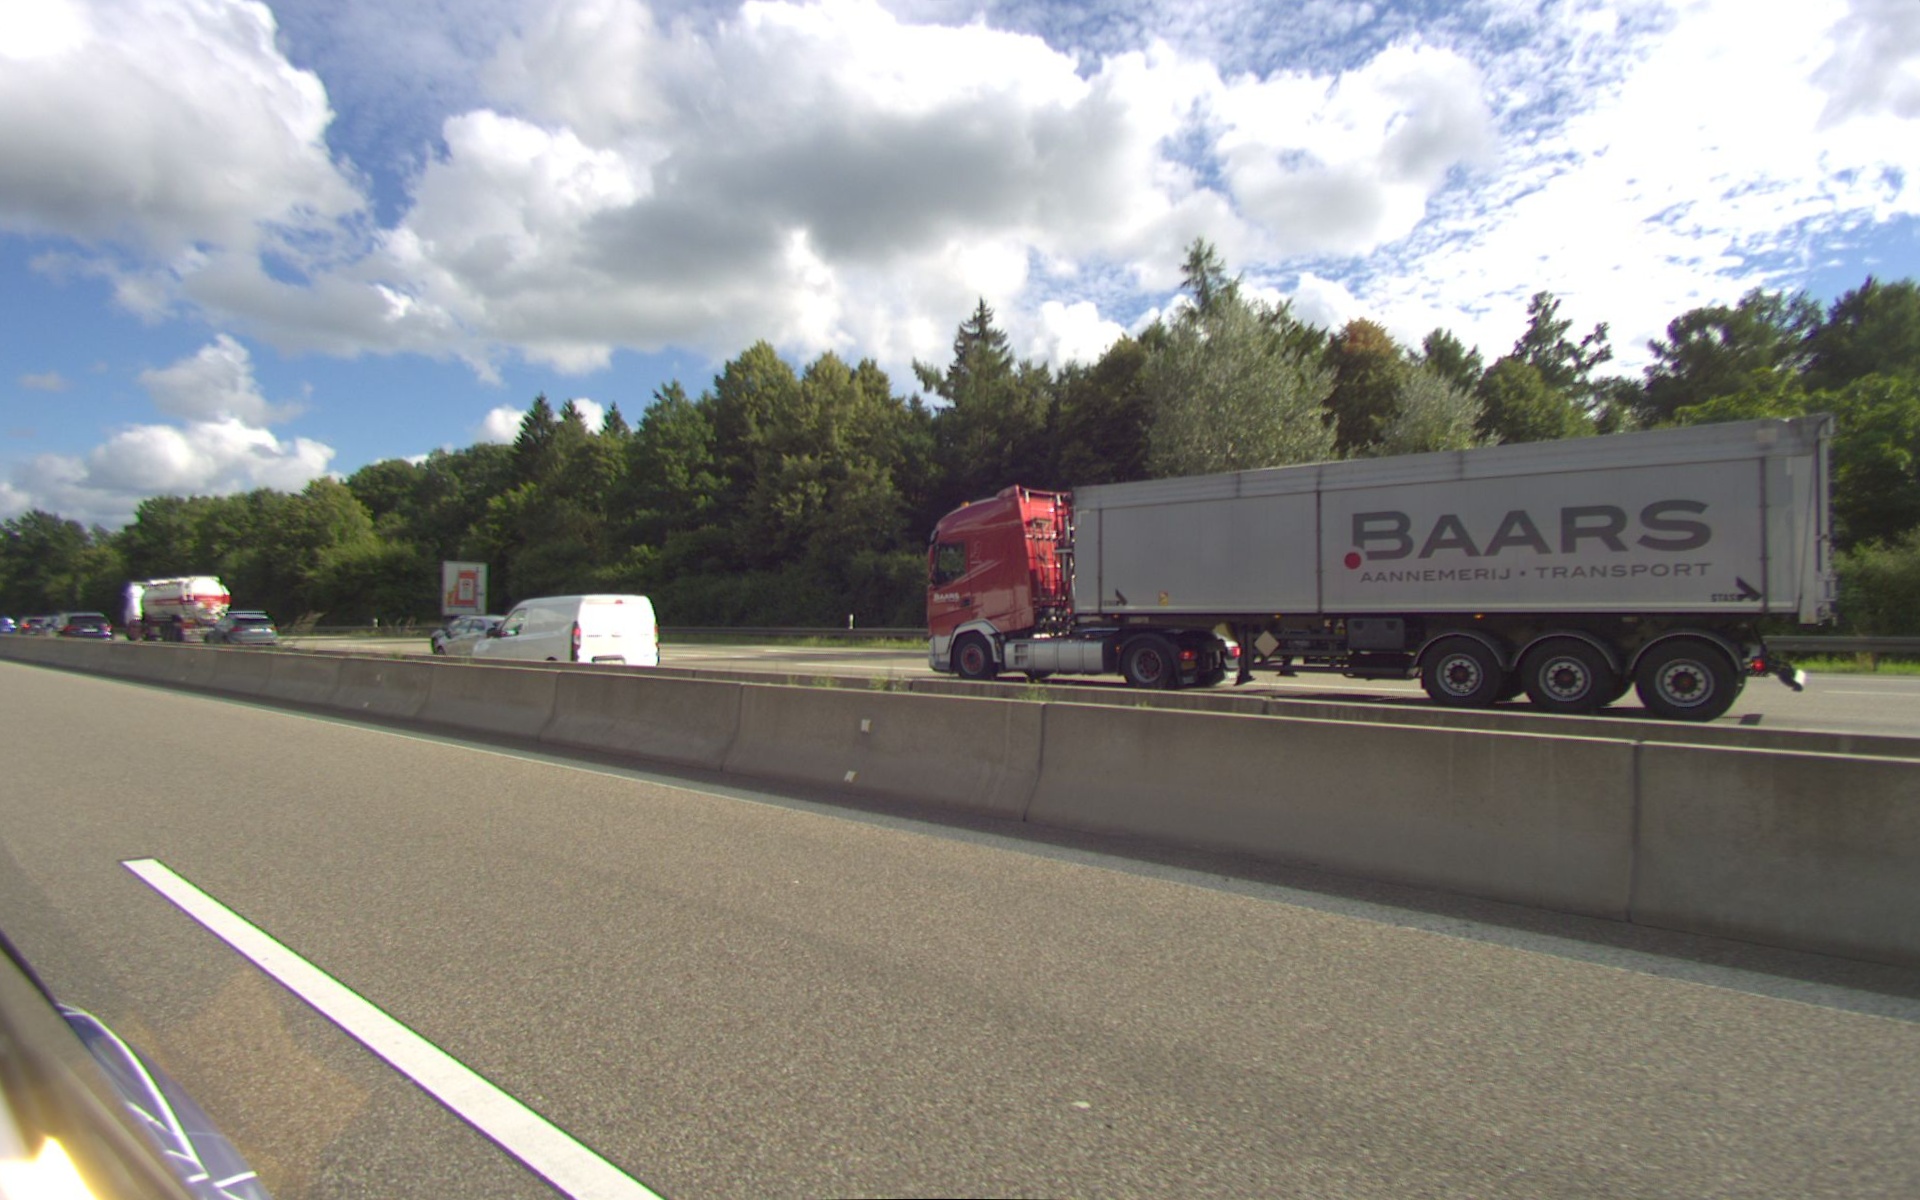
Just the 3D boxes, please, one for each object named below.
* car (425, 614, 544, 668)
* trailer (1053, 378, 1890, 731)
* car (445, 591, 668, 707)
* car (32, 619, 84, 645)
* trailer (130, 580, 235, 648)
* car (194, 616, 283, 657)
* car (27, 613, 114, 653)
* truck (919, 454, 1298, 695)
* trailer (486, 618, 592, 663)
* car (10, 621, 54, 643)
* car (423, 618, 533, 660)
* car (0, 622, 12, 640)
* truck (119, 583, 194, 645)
[{"bbox_3d":[-13.458,1.113,28.549,3.998,1.413,1.586,-1,-1,41],"label":"car"},{"bbox_3d":[6.904,-0.403,15.981,11.276,3.887,2.936,-1,-1,41],"label":"trailer"},{"bbox_3d":[-7.535,0.869,18.704,4.610,1.892,1.830,-1,-2,39],"label":"car"},{"bbox_3d":[-60.531,2.151,67.908,5.206,1.683,1.836,-1,-1,40],"label":"car"},{"bbox_3d":[-49.224,0.921,63.897,12.244,3.975,2.759,-1,-1,40],"label":"trailer"},{"bbox_3d":[-31.254,1.556,43.800,4.682,1.676,1.974,-1,-1,39],"label":"car"},{"bbox_3d":[-40.527,1.495,46.079,5.345,1.713,2.133,-1,-1,39],"label":"car"},{"bbox_3d":[2.674,-0.352,19.673,6.761,3.887,2.936,-1,-1,41],"label":"truck"},{"bbox_3d":[-14.331,1.345,34.358,4.175,1.413,1.519,-1,-1,39],"label":"trailer"},{"bbox_3d":[-71.171,2.439,77.594,4.743,1.632,1.841,-1,-1,39],"label":"car"},{"bbox_3d":[-17.748,1.404,37.161,4.669,1.425,1.809,-1,-1,39],"label":"car"},{"bbox_3d":[-81.603,2.633,85.430,3.993,1.523,1.614,-1,-2,37],"label":"car"},{"bbox_3d":[-53.867,0.976,67.806,6.440,3.975,2.759,-1,-1,40],"label":"truck"}]
